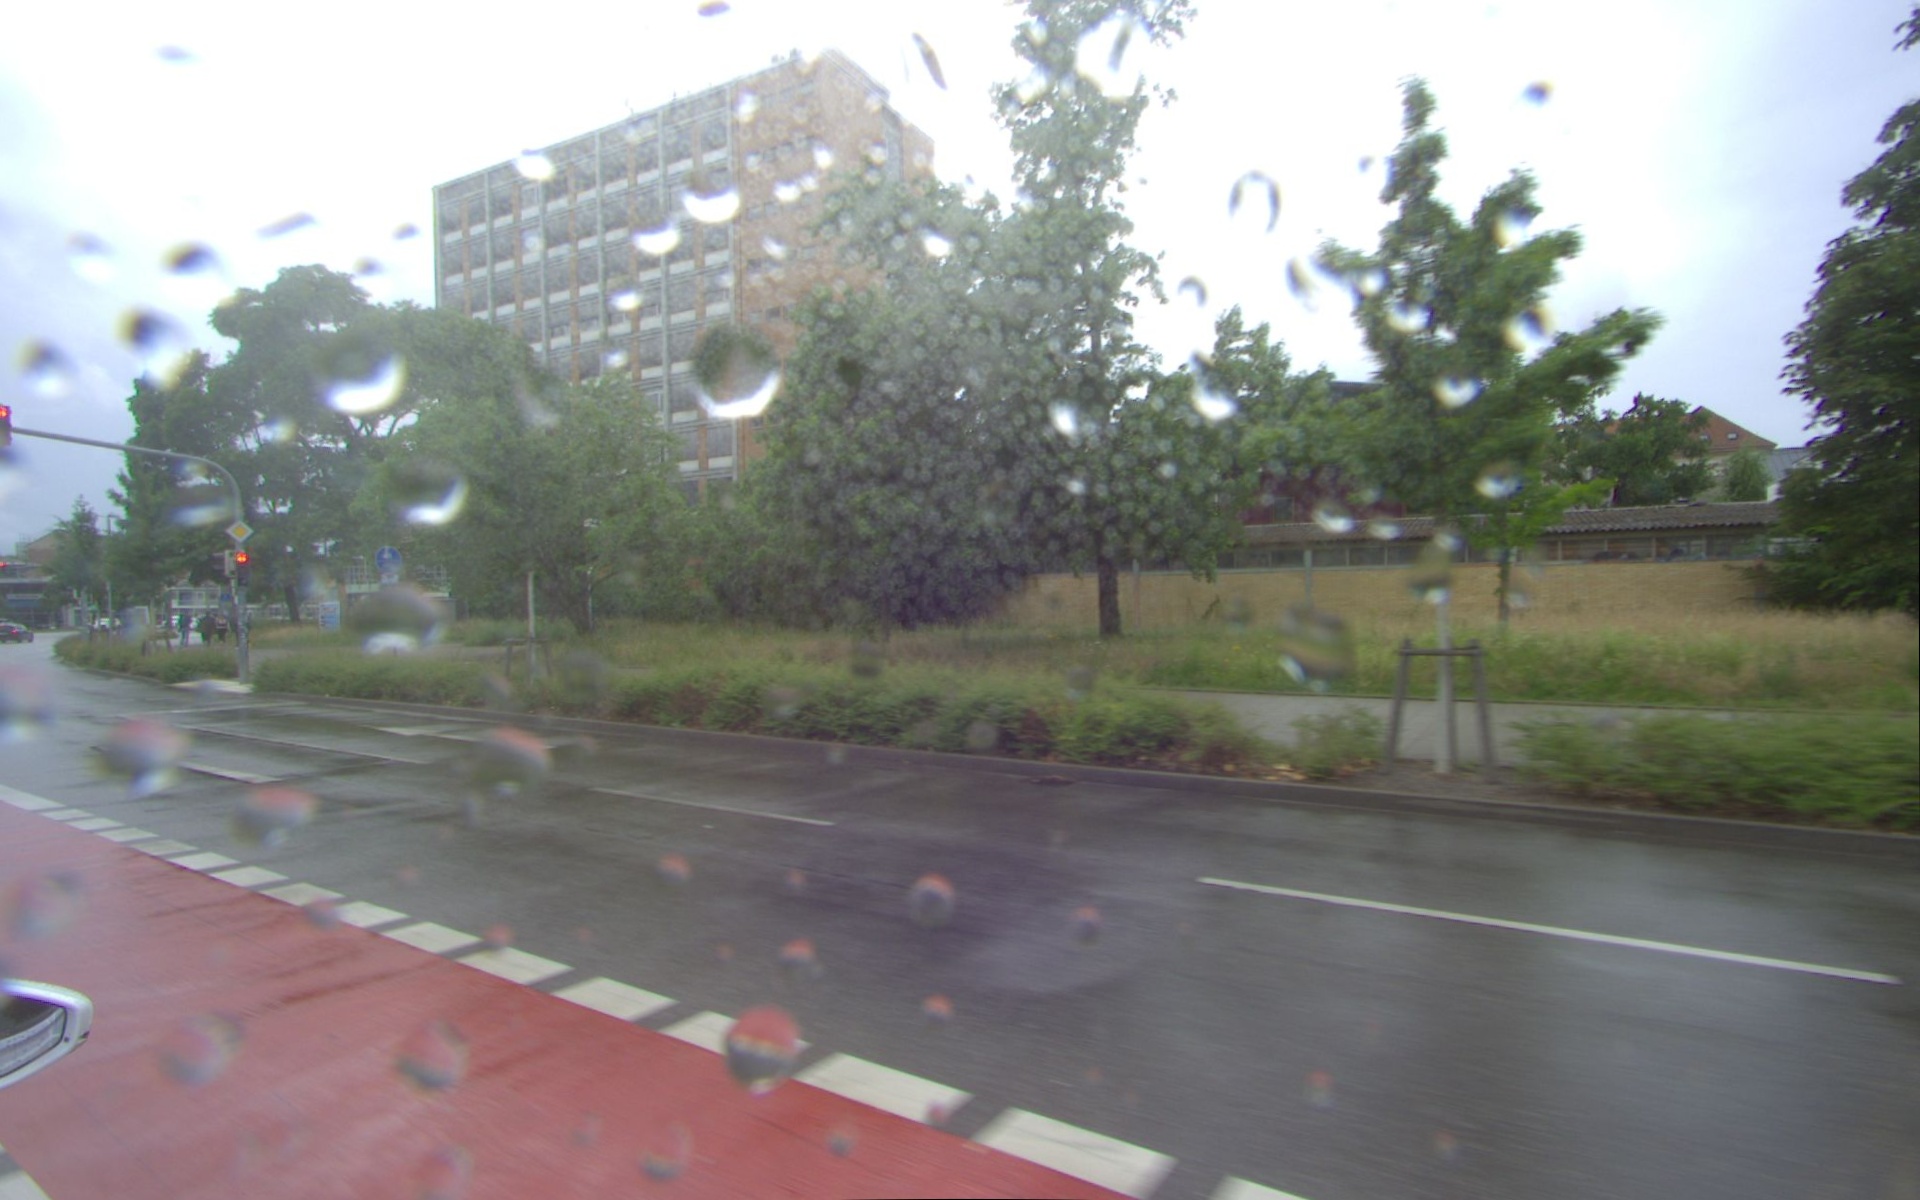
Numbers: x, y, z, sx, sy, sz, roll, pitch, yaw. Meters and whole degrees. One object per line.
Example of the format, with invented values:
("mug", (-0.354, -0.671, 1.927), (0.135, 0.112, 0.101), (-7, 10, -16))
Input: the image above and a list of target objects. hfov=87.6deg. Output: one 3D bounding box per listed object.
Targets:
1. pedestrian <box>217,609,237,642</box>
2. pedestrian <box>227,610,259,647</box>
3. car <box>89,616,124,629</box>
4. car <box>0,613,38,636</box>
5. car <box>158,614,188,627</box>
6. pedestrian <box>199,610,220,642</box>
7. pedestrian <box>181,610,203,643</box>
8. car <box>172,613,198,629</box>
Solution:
("pedestrian", (-36.959, 1.278, 50.497), (0.698, 1.609, 0.927), (-1, 1, -43))
("pedestrian", (-31.647, 1.230, 44.206), (1.015, 1.609, 0.927), (-1, 1, -44))
("car", (-115.779, 3.039, 135.846), (1.763, 1.665, 4.391), (0, 0, -14))
("car", (-71.761, 1.858, 76.070), (1.771, 1.665, 4.135), (-1, 0, -32))
("car", (-114.698, 2.952, 145.914), (1.762, 1.882, 4.155), (0, 0, -12))
("pedestrian", (-37.340, 1.282, 49.827), (0.698, 1.609, 0.927), (-1, 1, -43))
("pedestrian", (-37.341, 1.283, 48.692), (0.748, 1.609, 0.927), (-1, 1, -43))
("car", (-83.999, 2.291, 108.559), (1.771, 1.665, 4.135), (-1, 0, -32))
